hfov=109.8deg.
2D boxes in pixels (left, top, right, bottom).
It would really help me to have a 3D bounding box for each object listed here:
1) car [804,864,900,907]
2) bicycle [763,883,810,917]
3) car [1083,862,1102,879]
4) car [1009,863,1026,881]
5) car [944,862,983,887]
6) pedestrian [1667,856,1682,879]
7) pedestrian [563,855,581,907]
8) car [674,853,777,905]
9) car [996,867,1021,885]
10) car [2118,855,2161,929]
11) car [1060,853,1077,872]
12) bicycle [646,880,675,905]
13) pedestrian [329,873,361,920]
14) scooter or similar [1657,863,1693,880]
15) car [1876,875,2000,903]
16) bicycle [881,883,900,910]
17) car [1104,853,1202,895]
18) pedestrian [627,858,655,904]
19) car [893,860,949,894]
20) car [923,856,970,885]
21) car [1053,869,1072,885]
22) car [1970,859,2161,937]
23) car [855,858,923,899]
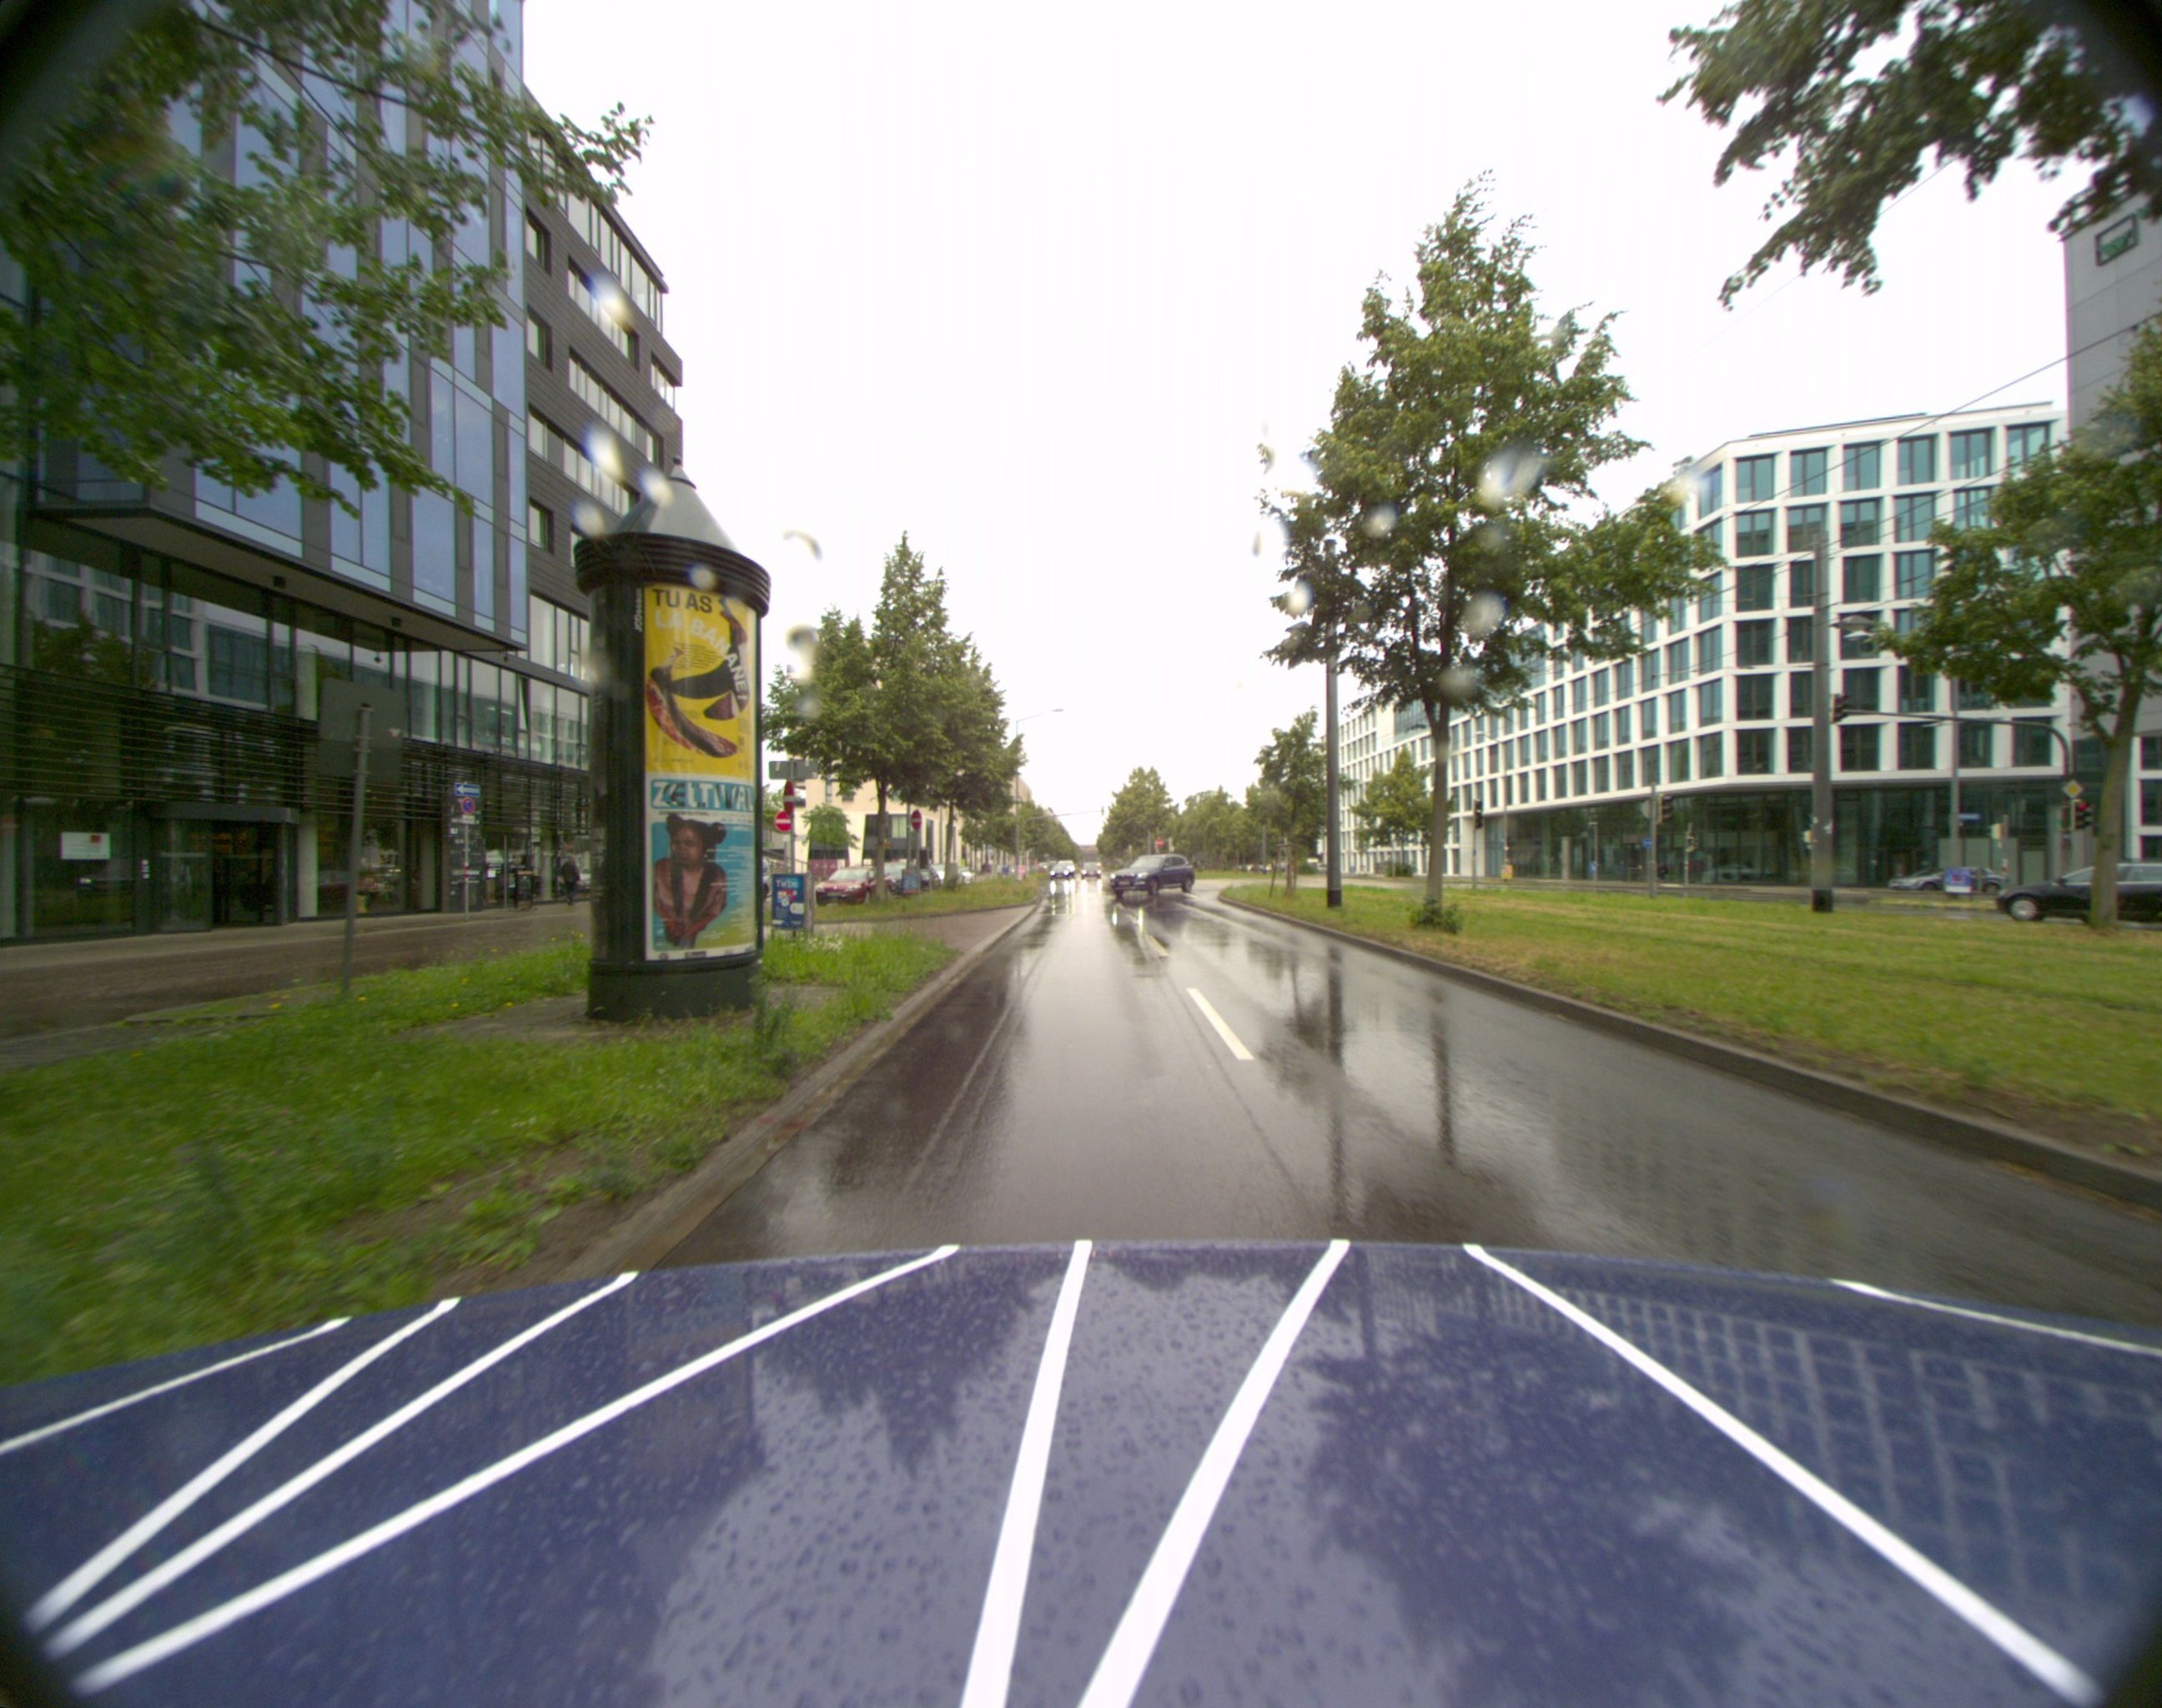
[{"bbox_3d":[-8.462,1.123,28.565,1.998,1.446,4.960,-1,-1,1],"label":"car"},{"bbox_3d":[-8.099,1.254,20.901,1.458,0.911,0.434,-2,-2,33],"label":"bicycle"},{"bbox_3d":[1.029,1.561,70.690,1.657,1.520,3.777,0,-2,-1],"label":"car"},{"bbox_3d":[-7.303,2.149,87.686,1.916,2.001,4.000,0,-2,-4],"label":"car"},{"bbox_3d":[-8.355,1.479,54.227,1.998,1.696,4.841,-1,-2,0],"label":"car"},{"bbox_3d":[43.238,0.967,55.377,0.634,1.634,0.546,0,1,2],"label":"pedestrian"},{"bbox_3d":[-17.966,0.943,26.808,0.508,1.821,0.575,1,-2,-35],"label":"pedestrian"},{"bbox_3d":[-13.742,0.933,29.725,1.898,1.854,4.723,0,-1,-2],"label":"car"},{"bbox_3d":[-7.204,2.268,76.122,1.998,1.696,4.841,-1,-2,0],"label":"car"},{"bbox_3d":[25.668,0.875,15.958,1.956,1.684,4.272,0,0,-1],"label":"car"},{"bbox_3d":[-1.343,0.950,84.132,1.757,1.913,4.002,-1,-2,1],"label":"car"},{"bbox_3d":[-15.564,1.425,28.122,0.437,0.892,1.232,0,-2,-3],"label":"bicycle"},{"bbox_3d":[-19.885,1.145,20.526,0.448,1.229,0.583,-2,-3,43],"label":"pedestrian"},{"bbox_3d":[43.121,1.275,55.141,2.161,1.145,0.550,0,-2,-1],"label":"scooter or similar"},{"bbox_3d":[45.755,1.858,40.654,4.088,1.427,1.890,-1,-2,10],"label":"car"},{"bbox_3d":[-6.454,1.430,25.714,0.575,0.856,1.913,0,-2,-15],"label":"bicycle"},{"bbox_3d":[3.150,0.803,32.318,1.924,1.650,4.726,0,0,38],"label":"car"},{"bbox_3d":[-16.176,0.997,27.938,0.627,1.694,0.657,0,-2,-4],"label":"pedestrian"},{"bbox_3d":[-8.497,1.251,40.763,1.998,1.696,4.725,-1,-2,0],"label":"car"},{"bbox_3d":[-8.123,1.054,46.363,1.998,1.696,4.841,-1,-2,0],"label":"car"},{"bbox_3d":[-1.731,2.231,72.375,1.687,1.520,3.970,0,-2,-1],"label":"car"},{"bbox_3d":[22.594,0.903,16.235,1.955,1.549,4.465,0,-2,1],"label":"car"},{"bbox_3d":[-8.537,1.130,34.183,1.998,1.696,4.219,-1,-2,0],"label":"car"}]
